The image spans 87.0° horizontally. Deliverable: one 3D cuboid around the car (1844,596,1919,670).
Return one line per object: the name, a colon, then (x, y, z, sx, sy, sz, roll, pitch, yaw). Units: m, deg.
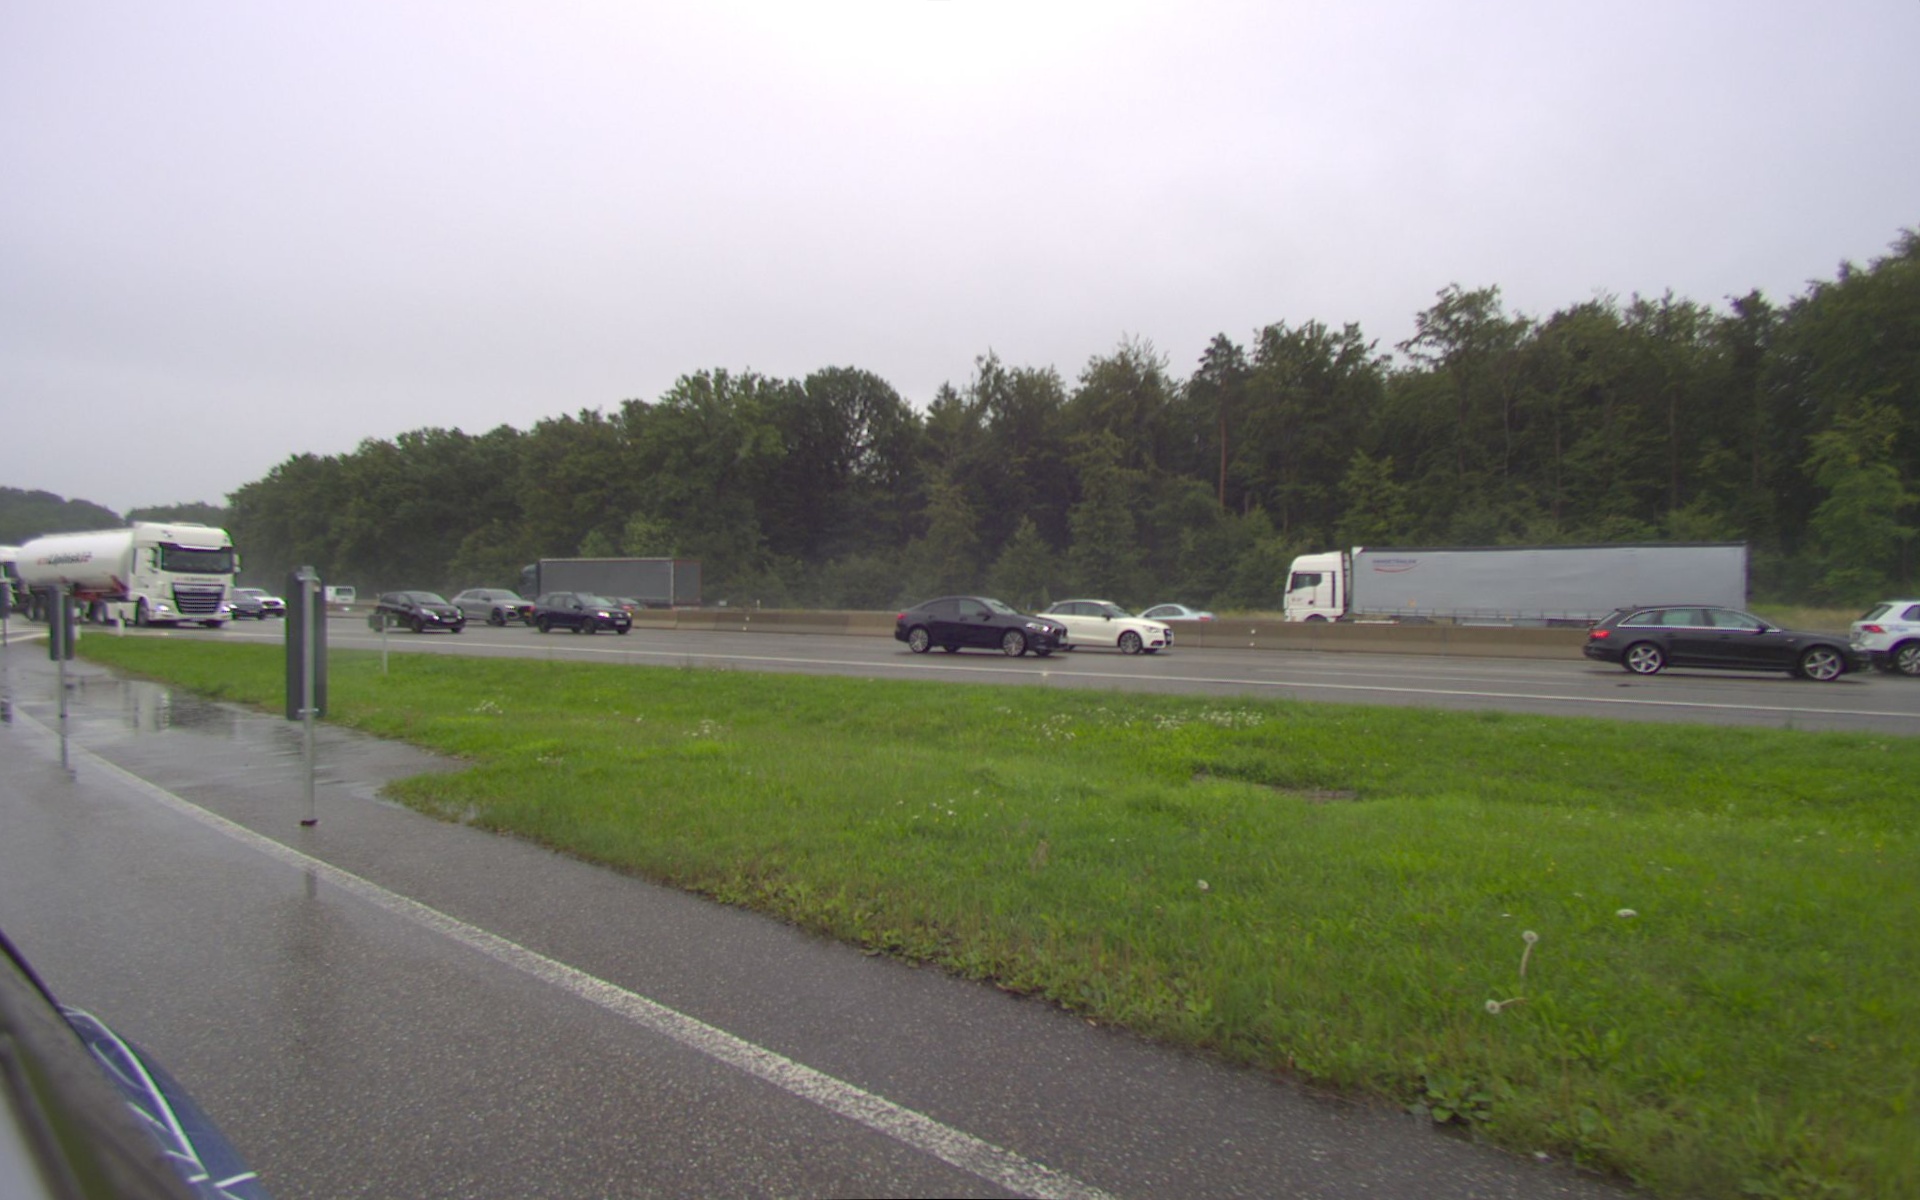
car: (21.737, 0.719, 21.239, 4.513, 1.552, 1.978, 0, -1, 32)

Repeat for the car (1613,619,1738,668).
car: (24.283, 1.483, 34.472, 3.267, 1.341, 1.400, -5, 3, 30)

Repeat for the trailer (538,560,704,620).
trailer: (-23.445, -0.753, 69.443, 13.363, 3.840, 3.005, 1, 2, 32)

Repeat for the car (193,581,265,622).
car: (-38.003, 0.078, 52.604, 3.991, 2.029, 1.841, 1, 0, 35)

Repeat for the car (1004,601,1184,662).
car: (3.620, 0.805, 27.607, 4.487, 1.492, 1.866, 1, 0, 32)

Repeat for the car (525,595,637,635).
car: (-14.263, 0.567, 38.034, 4.109, 1.425, 1.805, -1, -1, 31)

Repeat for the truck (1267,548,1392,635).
truck: (16.529, -0.370, 45.263, 4.743, 3.560, 2.696, -2, 3, 30)

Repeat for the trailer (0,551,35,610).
trailer: (-63.733, -1.235, 64.794, 15.077, 3.531, 2.663, 1, 3, 32)

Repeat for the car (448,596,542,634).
car: (-21.584, 0.684, 46.969, 4.389, 1.681, 1.805, 0, -1, 31)

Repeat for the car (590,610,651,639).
car: (-19.635, 1.399, 58.538, 3.267, 1.341, 1.400, -5, 3, 30)

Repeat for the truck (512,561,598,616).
truck: (-29.253, -0.873, 73.095, 5.626, 3.775, 3.019, 1, 2, 32)

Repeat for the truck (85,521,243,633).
truck: (-30.863, -0.831, 39.183, 6.484, 4.038, 2.730, 0, 0, 31)

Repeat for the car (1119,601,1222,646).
car: (7.796, 0.883, 37.486, 3.386, 1.341, 1.400, -5, 3, 30)

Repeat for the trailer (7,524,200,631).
trailer: (-35.863, -0.841, 42.200, 11.002, 4.056, 2.742, 0, -1, 31)

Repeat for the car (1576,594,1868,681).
car: (15.076, 0.689, 20.415, 4.513, 1.552, 1.978, 1, -1, 32)

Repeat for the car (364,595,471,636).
car: (-19.708, 0.543, 36.704, 3.990, 1.383, 1.803, 0, -1, 35)

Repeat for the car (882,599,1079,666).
car: (0.480, 0.745, 24.892, 4.482, 1.492, 1.868, 1, 0, 29)

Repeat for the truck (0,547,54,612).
truck: (-56.789, -1.247, 60.341, 5.308, 3.683, 2.669, 1, 3, 32)

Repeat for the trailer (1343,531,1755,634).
trailer: (23.264, -0.586, 41.249, 14.006, 3.564, 2.705, -2, 3, 31)

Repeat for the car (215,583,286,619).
car: (-41.193, 0.080, 58.782, 3.986, 2.029, 1.979, 0, 0, 32)

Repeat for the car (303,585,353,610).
car: (-56.235, -0.259, 90.077, 4.468, 2.028, 1.979, 1, 3, 32)
